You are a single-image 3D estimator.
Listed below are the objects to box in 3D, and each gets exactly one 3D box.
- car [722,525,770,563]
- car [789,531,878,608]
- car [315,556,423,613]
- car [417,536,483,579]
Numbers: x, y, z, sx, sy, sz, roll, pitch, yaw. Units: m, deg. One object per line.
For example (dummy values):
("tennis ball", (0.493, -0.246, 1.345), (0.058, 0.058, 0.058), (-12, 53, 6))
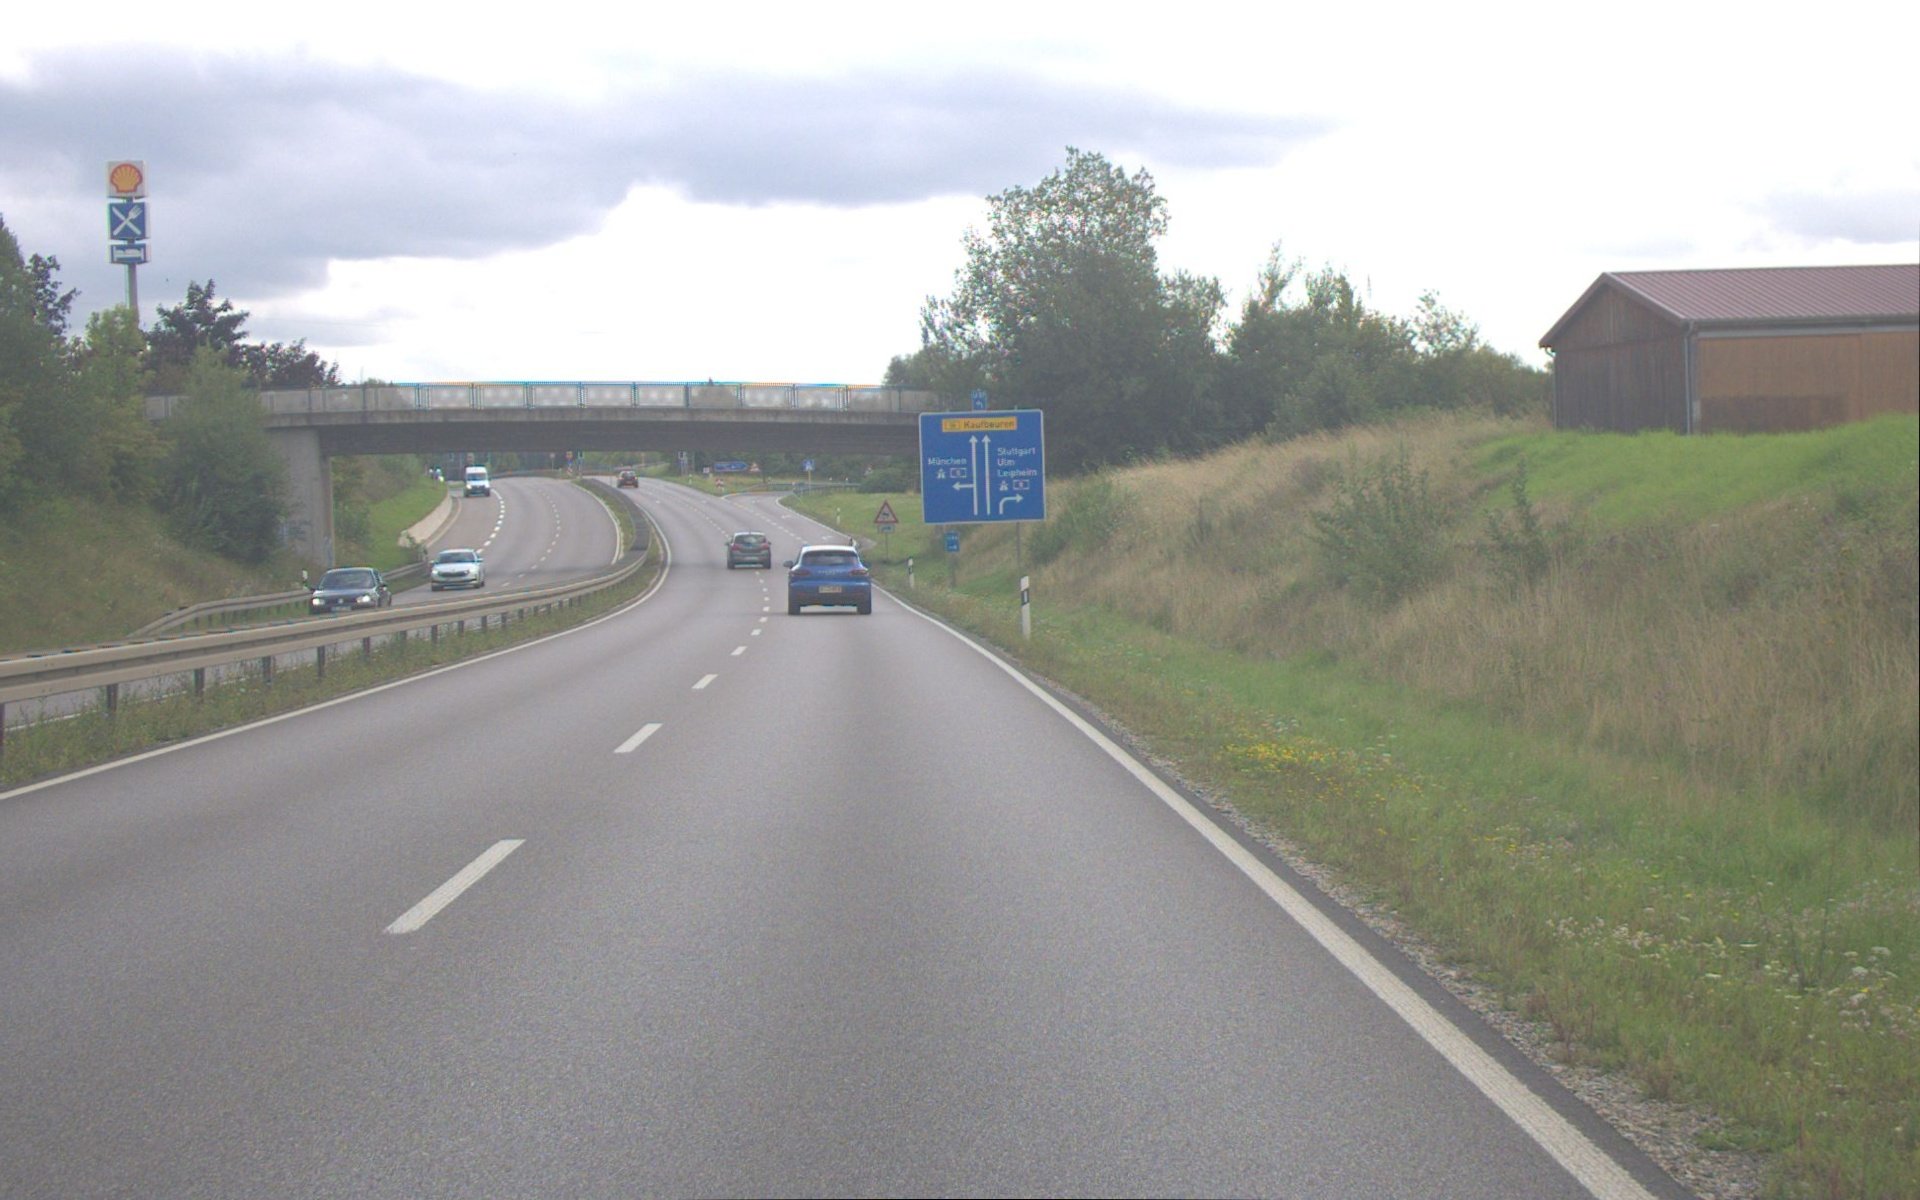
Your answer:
("car", (-8.824, -2.319, 141.662), (1.917, 1.448, 4.365), (-2, 2, -4))
("car", (-2.995, -0.733, 80.865), (2.033, 1.654, 4.544), (0, 2, -3))
("car", (-14.956, -0.414, 87.197), (1.993, 1.300, 4.822), (-1, 1, -2))
("car", (-18.948, -1.596, 127.908), (1.993, 1.448, 4.001), (-1, 2, -2))
